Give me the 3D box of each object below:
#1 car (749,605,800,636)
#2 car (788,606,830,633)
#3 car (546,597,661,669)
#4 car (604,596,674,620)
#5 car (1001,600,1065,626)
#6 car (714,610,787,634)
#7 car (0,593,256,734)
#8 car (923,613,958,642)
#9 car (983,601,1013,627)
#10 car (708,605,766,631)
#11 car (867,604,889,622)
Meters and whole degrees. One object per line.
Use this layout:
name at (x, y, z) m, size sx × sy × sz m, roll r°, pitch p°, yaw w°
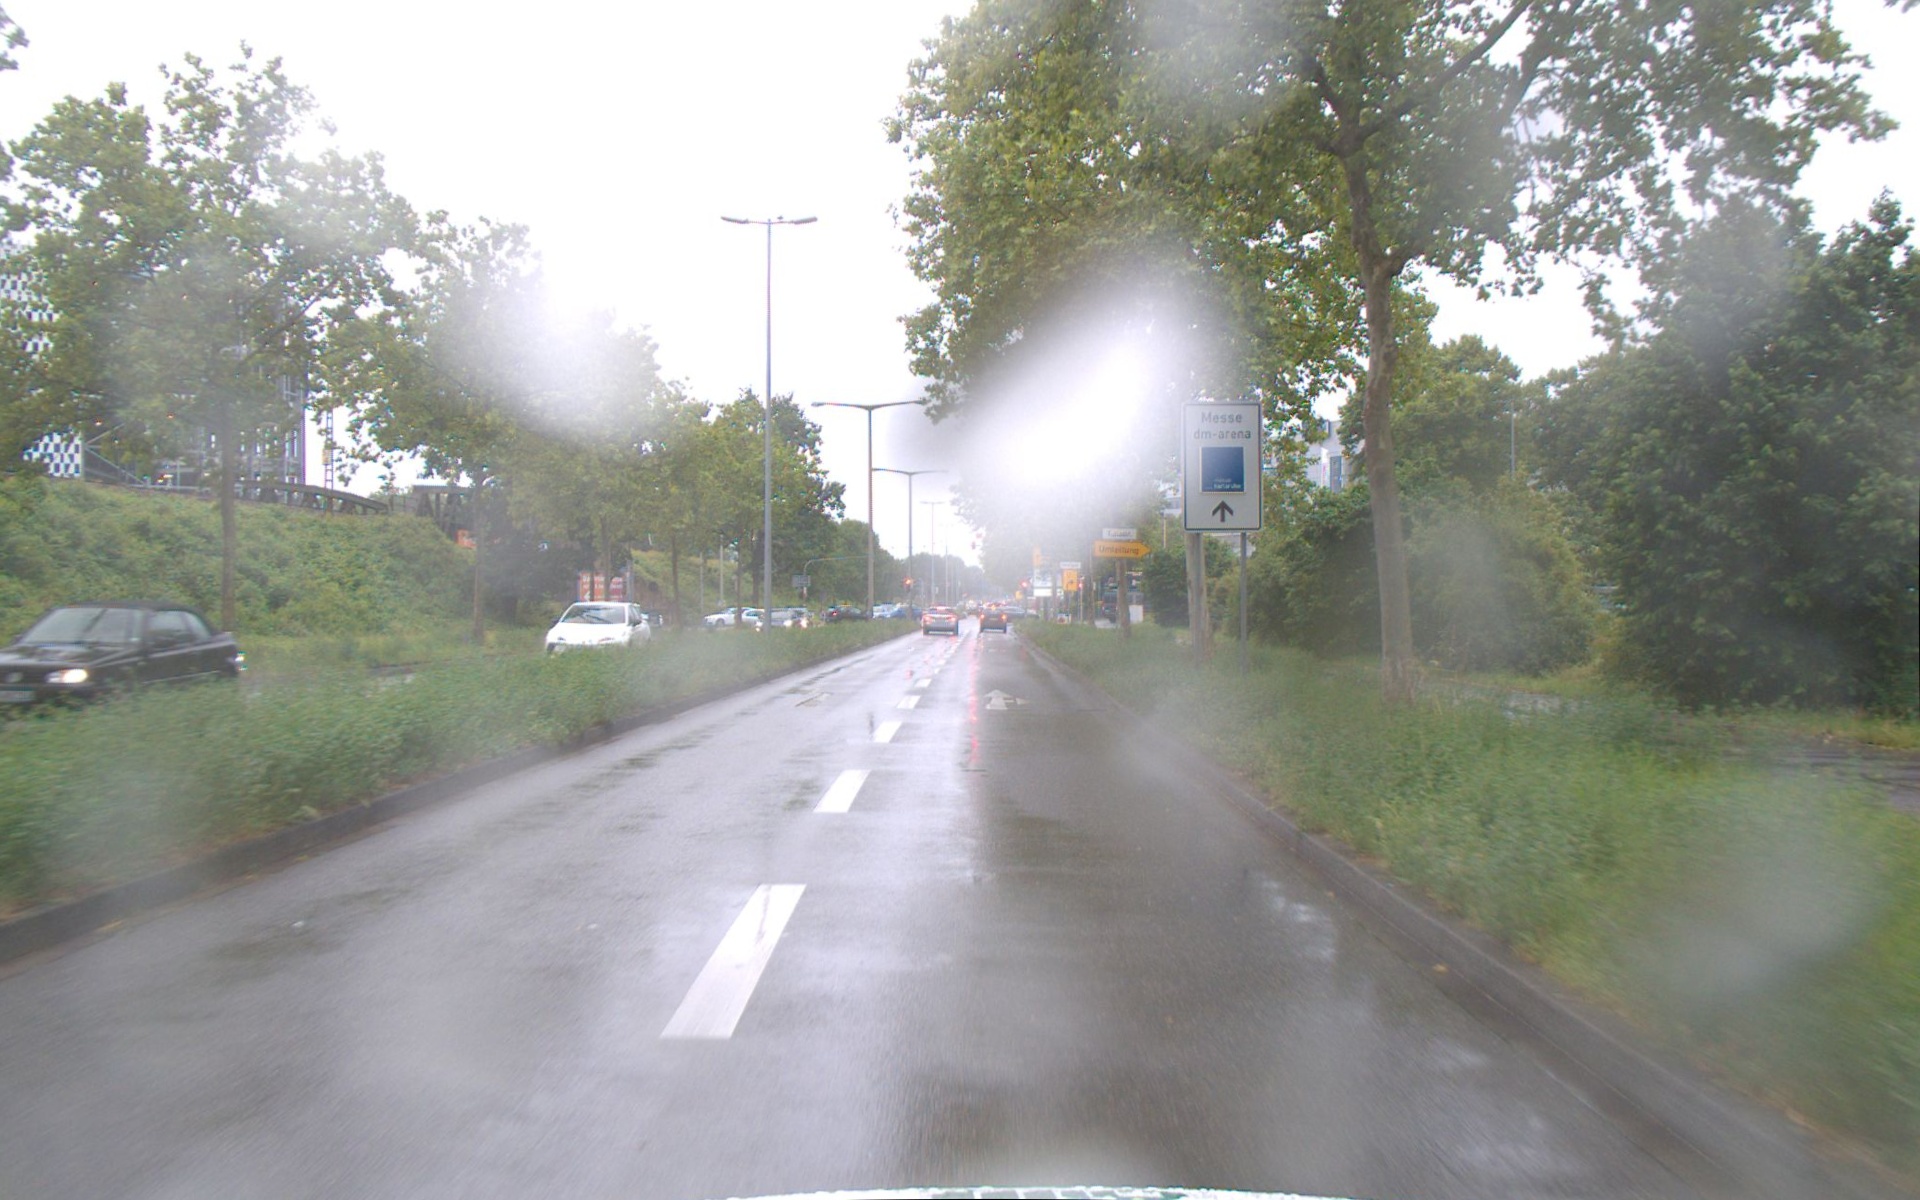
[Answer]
car at (-9.110, 0.995, 81.569) m, size 1.891 × 1.470 × 4.497 m, roll 0°, pitch 0°, yaw 1°
car at (-8.280, 1.063, 91.160) m, size 1.891 × 1.470 × 3.707 m, roll 0°, pitch 0°, yaw 1°
car at (-7.985, 0.702, 37.424) m, size 1.667 × 1.521 × 4.204 m, roll 1°, pitch 0°, yaw 0°
car at (-21.559, 0.549, 111.231) m, size 4.323 × 1.564 × 1.785 m, roll 0°, pitch -1°, yaw -28°
car at (5.030, 0.876, 113.898) m, size 4.344 × 1.563 × 1.777 m, roll -3°, pitch 2°, yaw -39°
car at (-13.180, 1.367, 104.006) m, size 4.566 × 1.470 × 1.929 m, roll 0°, pitch 0°, yaw 37°
car at (-9.859, 0.659, 19.267) m, size 1.598 × 1.451 × 4.000 m, roll 1°, pitch 0°, yaw 0°
car at (-1.003, 1.425, 87.592) m, size 1.655 × 1.458 × 4.575 m, roll 0°, pitch 0°, yaw 1°
car at (2.367, 0.886, 103.080) m, size 1.759 × 1.564 × 4.388 m, roll 1°, pitch 0°, yaw 1°
car at (-16.906, 1.381, 125.357) m, size 3.948 × 1.878 × 1.978 m, roll 2°, pitch -1°, yaw -32°
car at (-7.513, 1.192, 151.392) m, size 1.677 × 1.557 × 4.001 m, roll 0°, pitch 0°, yaw 1°
